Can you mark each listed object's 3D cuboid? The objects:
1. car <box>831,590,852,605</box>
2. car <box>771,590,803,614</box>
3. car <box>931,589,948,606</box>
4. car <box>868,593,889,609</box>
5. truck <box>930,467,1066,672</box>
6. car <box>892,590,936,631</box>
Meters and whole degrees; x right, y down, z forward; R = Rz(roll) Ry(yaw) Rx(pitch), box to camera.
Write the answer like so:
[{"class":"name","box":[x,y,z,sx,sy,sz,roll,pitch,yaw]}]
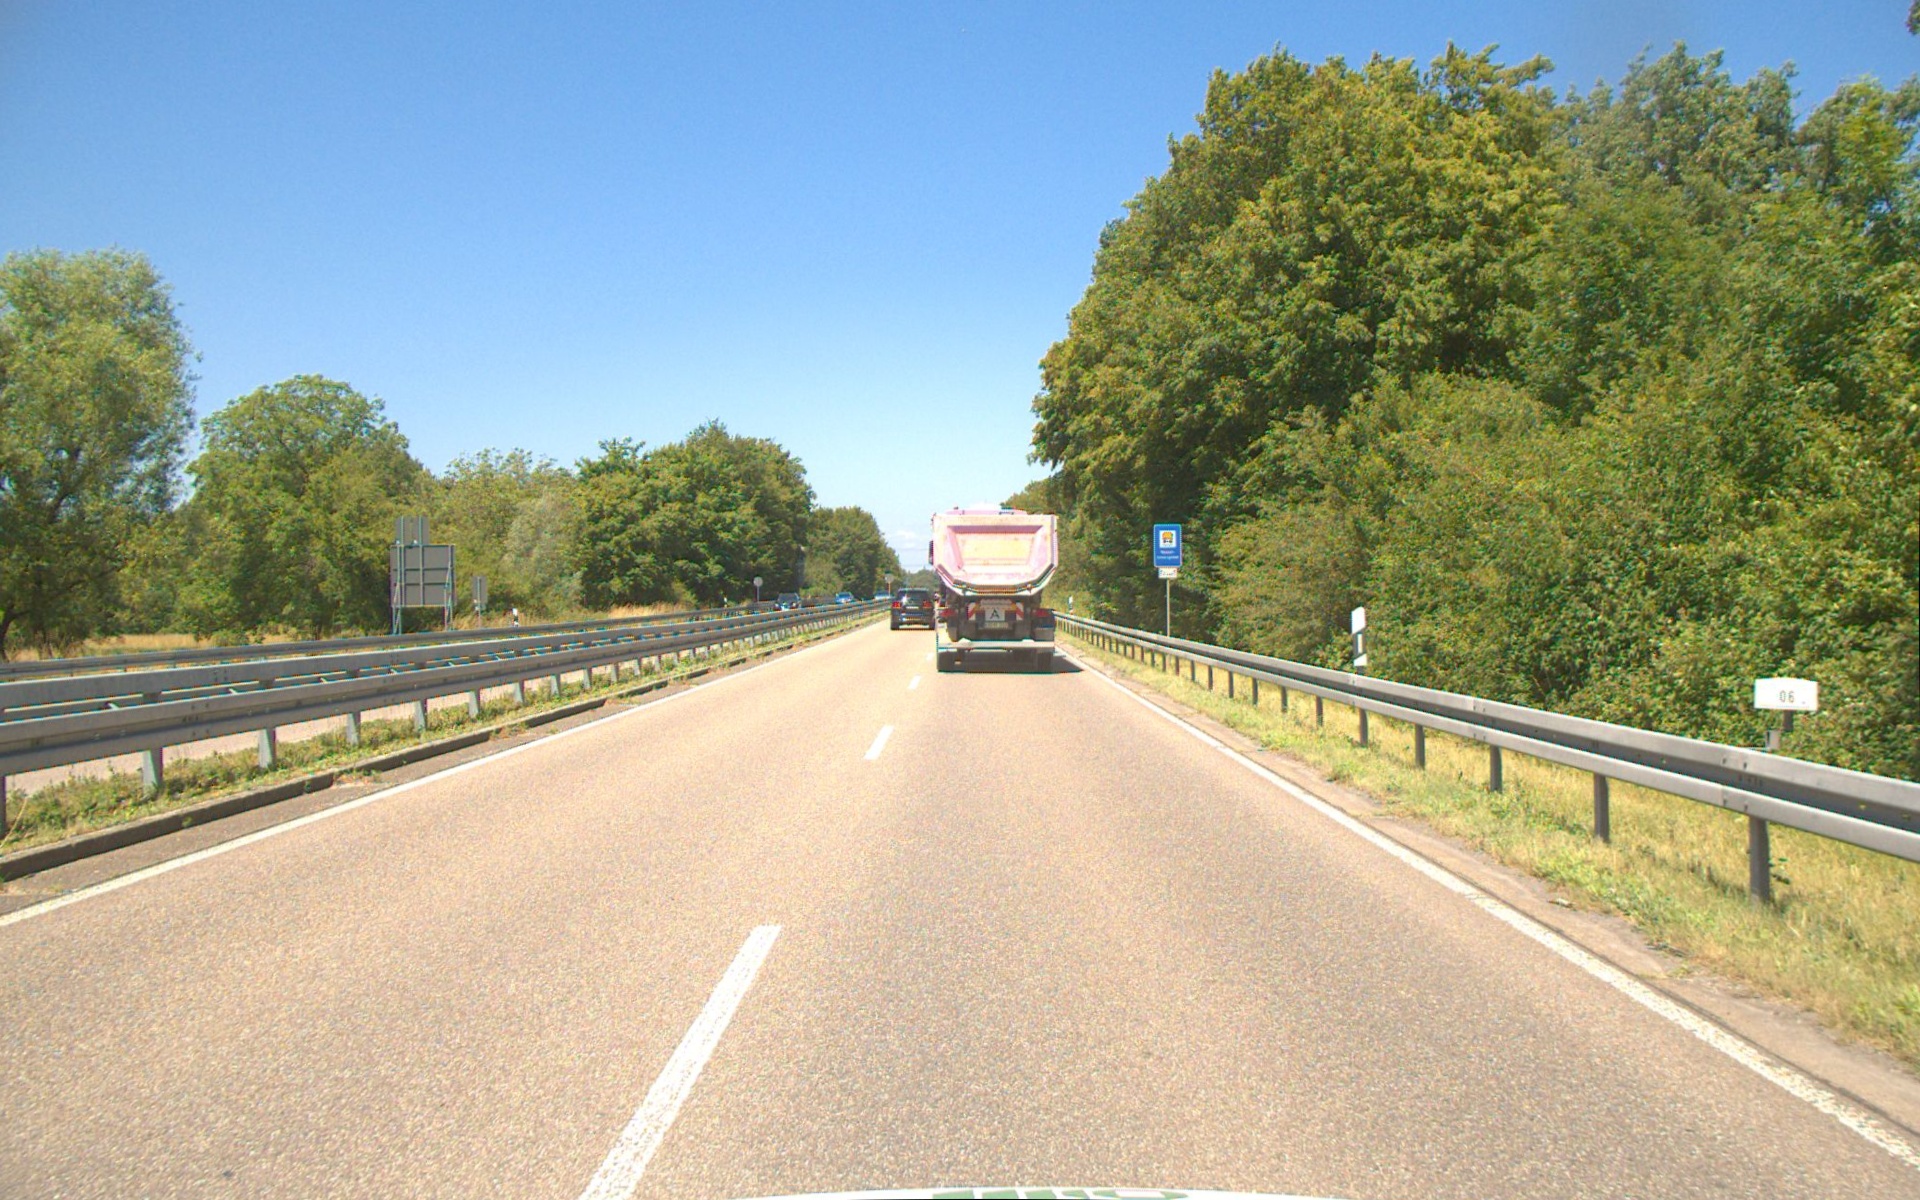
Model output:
[{"class":"car","box":[-12.468,-0.267,174.512,1.775,1.570,4.928,-2,0,0]},{"class":"car","box":[-12.735,0.142,122.040,1.743,1.648,4.506,-2,0,1]},{"class":"car","box":[-2.274,-0.225,183.227,1.820,1.748,3.999,0,-1,-1]},{"class":"car","box":[-9.322,0.099,189.028,1.952,1.660,4.554,-2,0,2]},{"class":"truck","box":[0.686,-0.611,38.480,2.665,3.999,12.368,0,0,-1]},{"class":"car","box":[-1.932,0.482,71.078,1.820,1.701,3.999,0,-1,-1]}]
